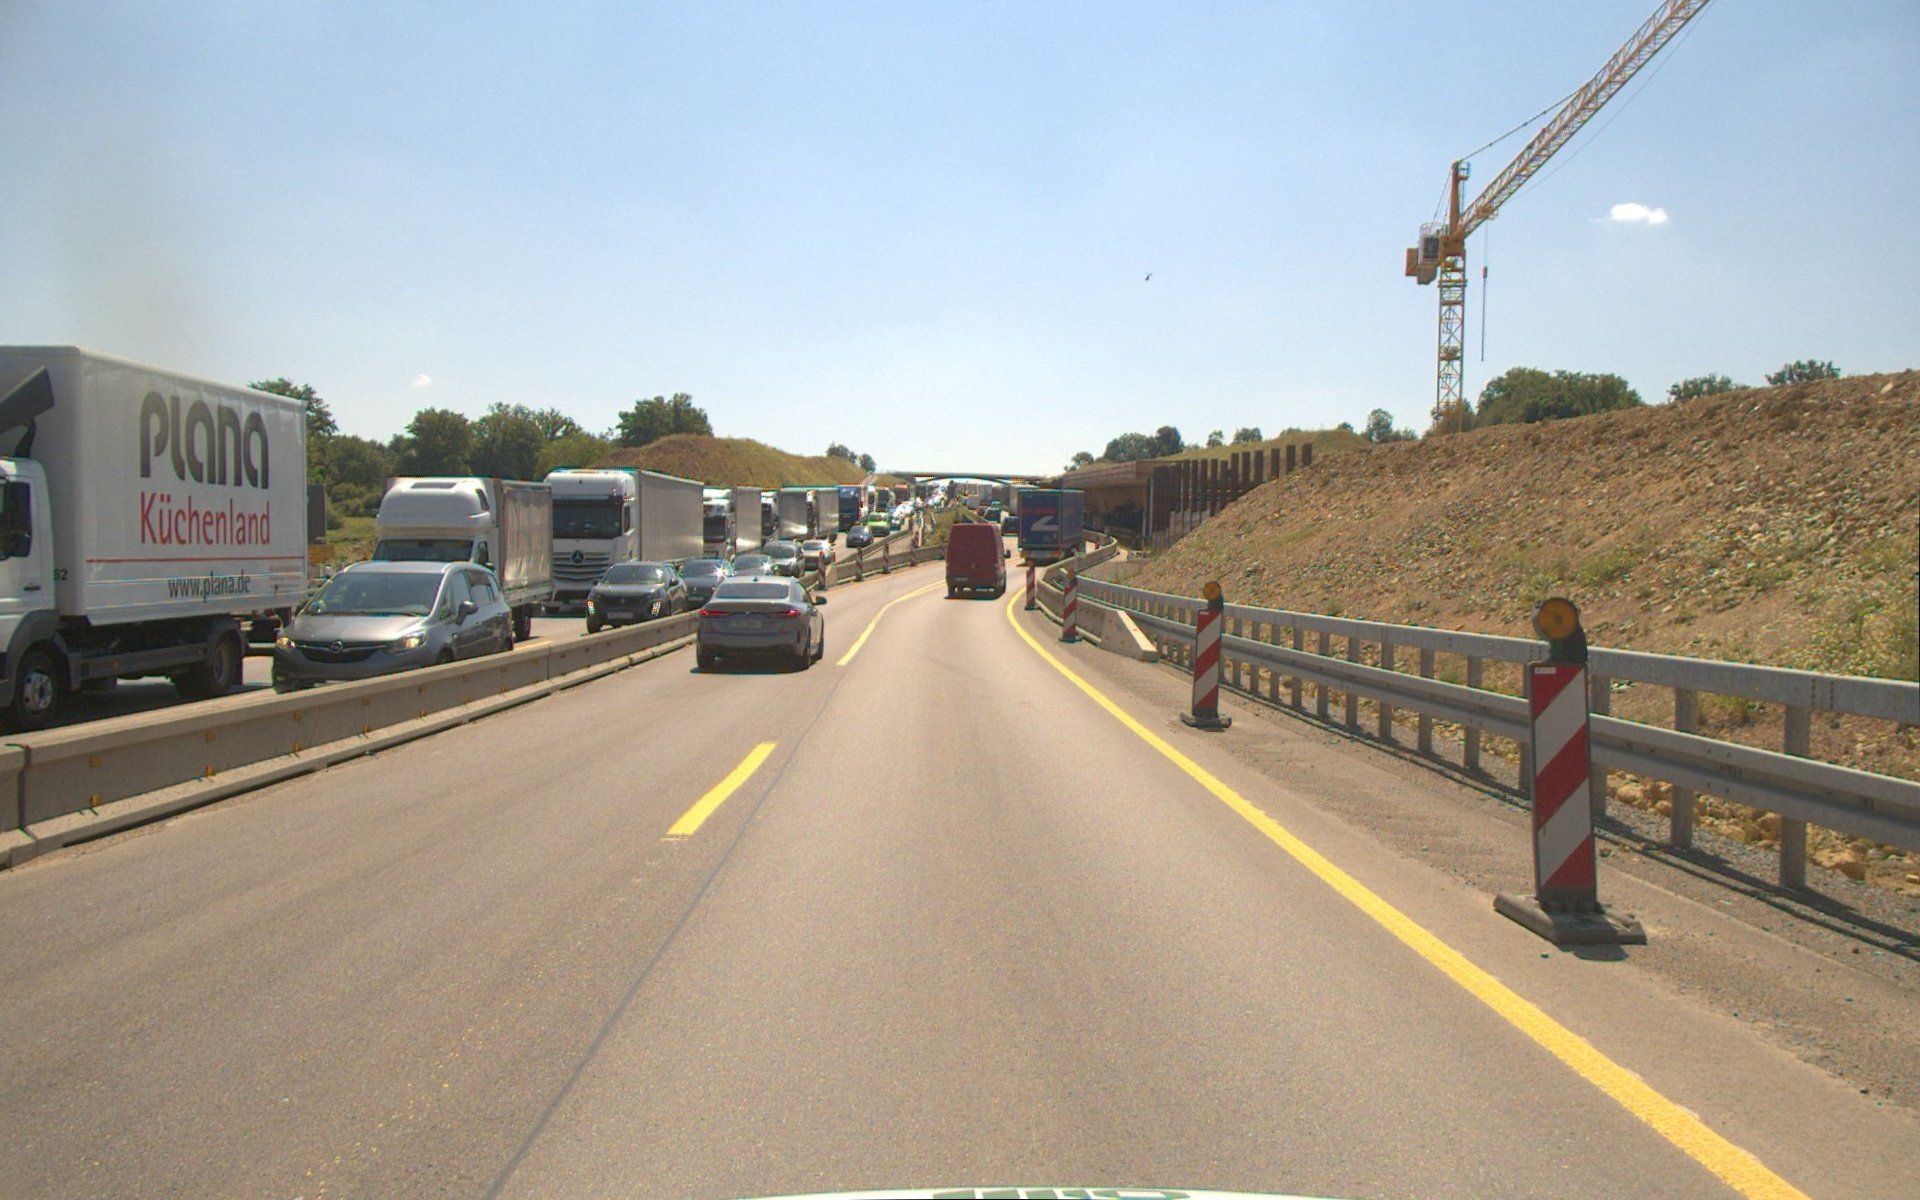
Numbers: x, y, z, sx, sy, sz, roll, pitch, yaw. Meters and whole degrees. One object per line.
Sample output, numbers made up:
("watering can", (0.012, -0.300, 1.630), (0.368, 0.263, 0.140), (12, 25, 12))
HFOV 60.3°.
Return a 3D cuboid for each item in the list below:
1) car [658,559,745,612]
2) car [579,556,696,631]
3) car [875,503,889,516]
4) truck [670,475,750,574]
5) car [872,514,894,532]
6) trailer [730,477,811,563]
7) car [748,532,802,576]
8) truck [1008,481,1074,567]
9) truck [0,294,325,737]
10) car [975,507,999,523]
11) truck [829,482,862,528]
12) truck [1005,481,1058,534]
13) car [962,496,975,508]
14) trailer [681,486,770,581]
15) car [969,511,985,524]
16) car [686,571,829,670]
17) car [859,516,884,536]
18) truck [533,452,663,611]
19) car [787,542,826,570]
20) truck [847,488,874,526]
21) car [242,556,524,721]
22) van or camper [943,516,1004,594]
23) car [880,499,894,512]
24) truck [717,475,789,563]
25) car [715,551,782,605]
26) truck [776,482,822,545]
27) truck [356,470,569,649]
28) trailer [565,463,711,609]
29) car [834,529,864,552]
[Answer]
("car", (-7.459, -0.461, 48.115), (1.864, 1.400, 4.546), (-2, 1, -1))
("car", (-7.190, -0.158, 37.293), (1.790, 1.562, 4.545), (-1, 1, -1))
("car", (-10.714, -12.426, 227.343), (1.913, 1.556, 4.266), (0, 1, -2))
("truck", (-10.519, -3.109, 70.051), (2.726, 3.937, 5.458), (0, 0, -2))
("car", (-7.241, -7.282, 156.165), (1.913, 1.556, 4.267), (0, 1, -1))
("trailer", (-10.831, -4.493, 95.868), (2.979, 4.631, 12.131), (0, 1, 2))
("car", (-7.728, -1.912, 69.347), (1.953, 1.814, 3.999), (0, 1, -2))
("truck", (4.767, -4.367, 96.466), (2.956, 4.774, 6.939), (-1, 1, 10))
("truck", (-9.850, -0.817, 18.337), (2.474, 3.923, 8.669), (1, 1, -2))
("car", (3.090, -9.637, 186.788), (2.240, 1.556, 4.361), (-2, 0, 6))
("truck", (-10.584, -8.742, 153.246), (2.830, 3.906, 7.998), (0, 1, -3))
("truck", (7.901, -9.980, 180.527), (5.051, 5.084, 13.885), (-2, 1, 5))
("car", (1.317, -15.141, 256.606), (1.913, 1.669, 4.267), (0, 1, -1))
("trailer", (-10.635, -2.895, 76.168), (2.727, 4.000, 11.006), (0, 0, -1))
("car", (2.186, -10.691, 214.124), (1.913, 1.557, 4.266), (1, 0, -1))
("car", (-3.244, 0.299, 27.293), (1.814, 1.477, 4.741), (1, 0, -1))
("car", (-7.452, -6.214, 139.498), (1.913, 1.556, 4.267), (0, 1, -1))
("truck", (-10.402, -1.923, 48.120), (2.499, 4.305, 6.528), (0, 1, -2))
("car", (-8.003, -2.272, 86.315), (1.711, 1.433, 4.000), (0, 1, -1))
("truck", (-11.183, -10.427, 186.216), (2.830, 3.906, 7.998), (0, 1, -3))
("car", (-6.659, 0.379, 19.642), (1.790, 1.679, 4.545), (2, 1, -1))
("van or camper", (0.451, -1.658, 61.462), (1.988, 2.792, 4.513), (1, 1, -3))
("car", (-10.297, -13.347, 233.838), (1.913, 1.556, 4.266), (0, 1, -2))
("truck", (-11.085, -4.322, 88.990), (2.989, 4.558, 5.982), (0, 2, 1))
("car", (-7.386, -0.783, 58.135), (1.953, 1.814, 3.999), (0, 1, -2))
("truck", (-10.636, -5.663, 109.835), (2.629, 3.906, 7.383), (0, 1, -3))
("truck", (-9.769, -0.833, 33.260), (2.385, 3.203, 7.021), (0, 2, -2))
("trailer", (-10.479, -2.017, 55.268), (2.542, 4.331, 12.467), (0, 1, -1))
("car", (-7.922, -4.261, 118.581), (1.913, 1.556, 4.267), (0, 1, -1))
